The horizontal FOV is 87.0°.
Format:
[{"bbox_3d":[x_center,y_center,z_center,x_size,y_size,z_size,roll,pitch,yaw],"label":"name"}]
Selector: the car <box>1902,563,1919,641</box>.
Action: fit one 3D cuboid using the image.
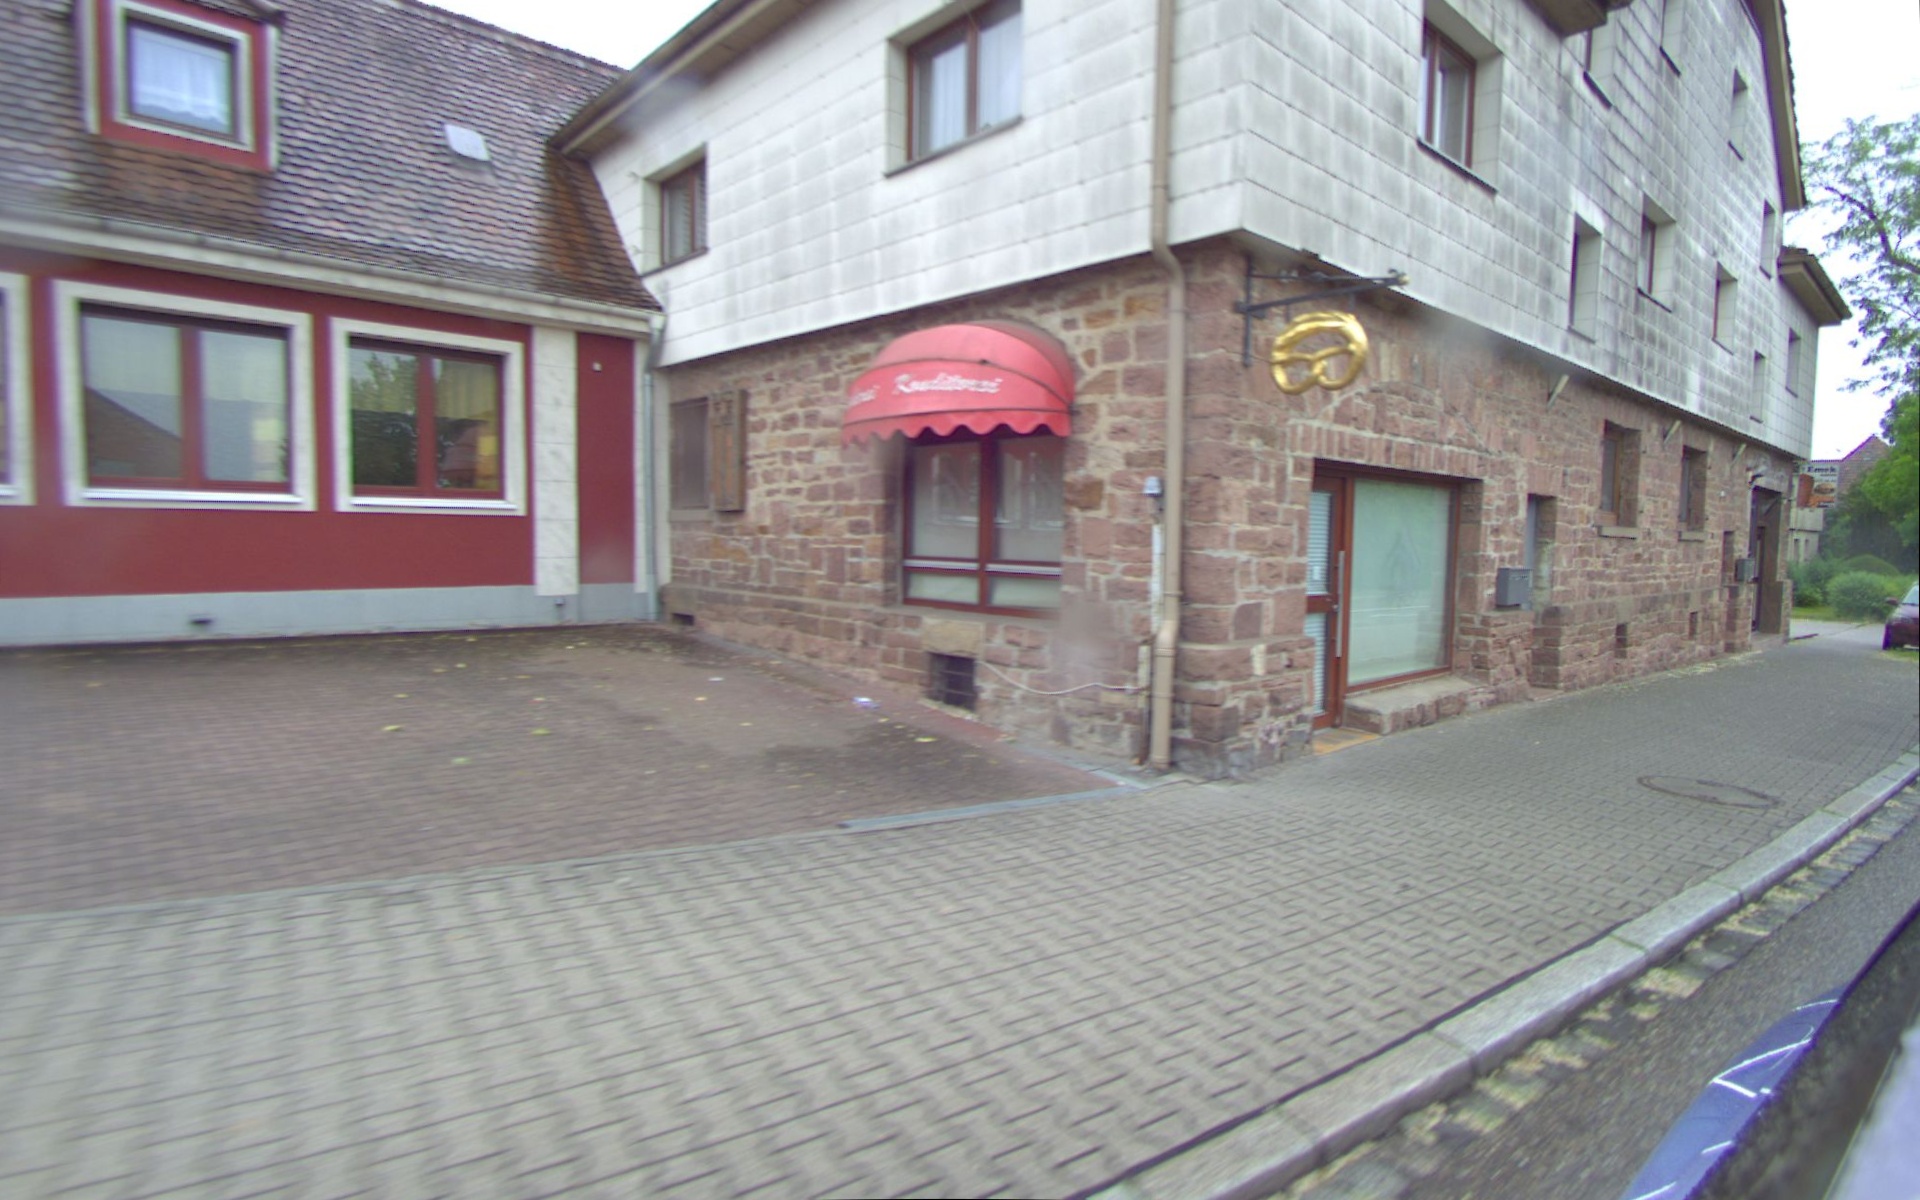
[{"bbox_3d":[20.543,0.082,20.697,3.693,1.522,1.612,1,0,-43],"label":"car"}]
